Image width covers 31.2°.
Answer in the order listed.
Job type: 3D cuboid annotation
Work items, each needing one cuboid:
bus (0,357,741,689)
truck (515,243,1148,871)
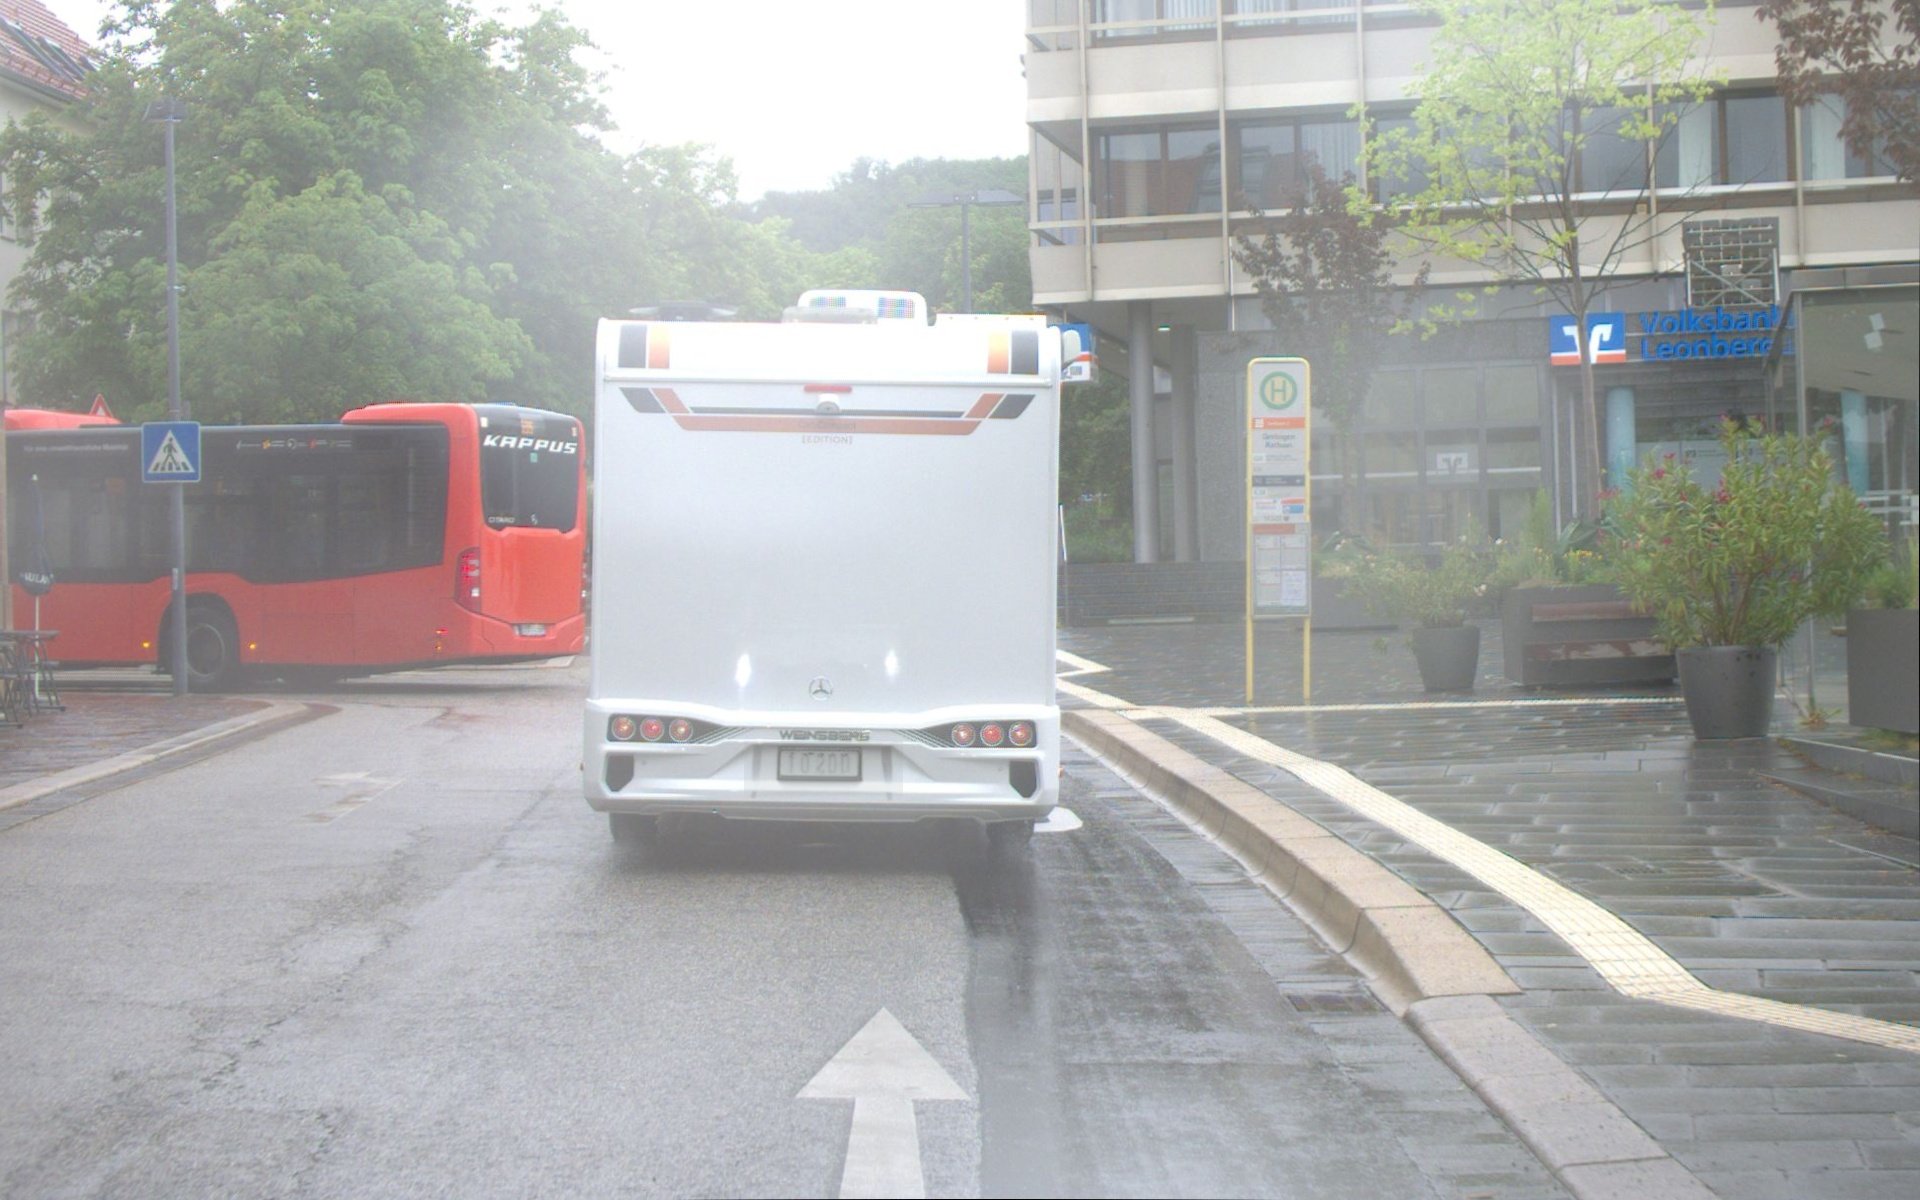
[{"bbox_3d":[-7.683,-0.717,38.003,10.127,3.135,3.030,-2,0,24],"label":"bus"},{"bbox_3d":[-0.793,-0.204,18.919,2.805,2.787,6.107,-2,0,-4],"label":"truck"}]
